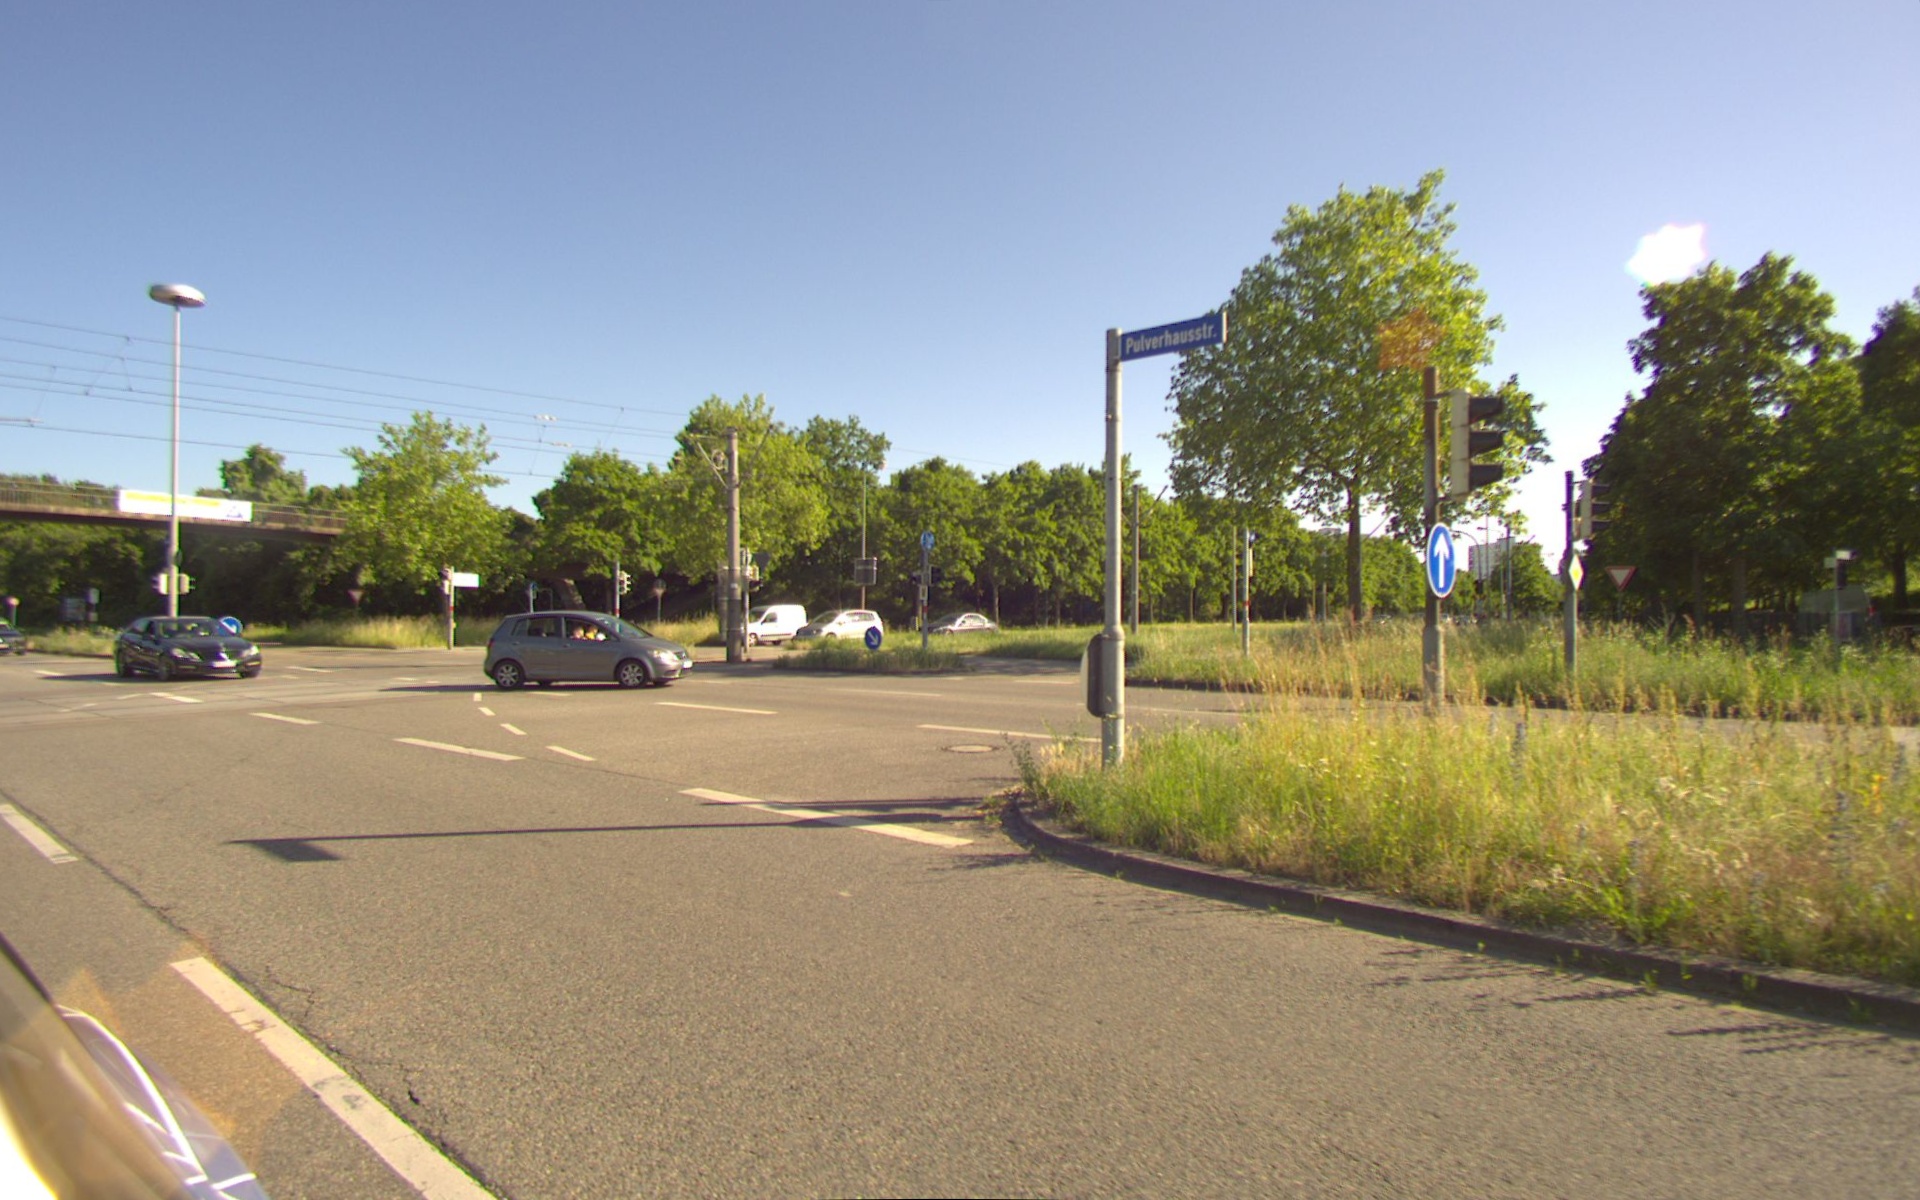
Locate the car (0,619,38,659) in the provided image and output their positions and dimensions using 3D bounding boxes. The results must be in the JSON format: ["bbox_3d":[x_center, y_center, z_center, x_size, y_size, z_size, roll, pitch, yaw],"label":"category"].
[{"bbox_3d":[-37.425,1.508,39.197,3.994,1.507,1.774,-2,-3,37],"label":"car"}]

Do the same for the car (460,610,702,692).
[{"bbox_3d":[-7.716,1.025,20.819,4.333,1.582,1.844,-1,-1,6],"label":"car"}]

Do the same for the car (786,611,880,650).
[{"bbox_3d":[-5.306,1.252,42.611,1.848,1.572,3.880,-1,-1,34],"label":"car"}]

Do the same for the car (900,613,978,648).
[{"bbox_3d":[-0.978,1.450,48.413,1.848,1.572,3.880,-1,-1,34],"label":"car"}]

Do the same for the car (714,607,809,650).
[{"bbox_3d":[-8.561,1.220,43.924,1.773,1.768,3.953,-1,-1,34],"label":"car"}]

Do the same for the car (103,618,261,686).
[{"bbox_3d":[-18.896,1.204,24.511,4.519,1.498,1.759,-1,-2,35],"label":"car"}]
